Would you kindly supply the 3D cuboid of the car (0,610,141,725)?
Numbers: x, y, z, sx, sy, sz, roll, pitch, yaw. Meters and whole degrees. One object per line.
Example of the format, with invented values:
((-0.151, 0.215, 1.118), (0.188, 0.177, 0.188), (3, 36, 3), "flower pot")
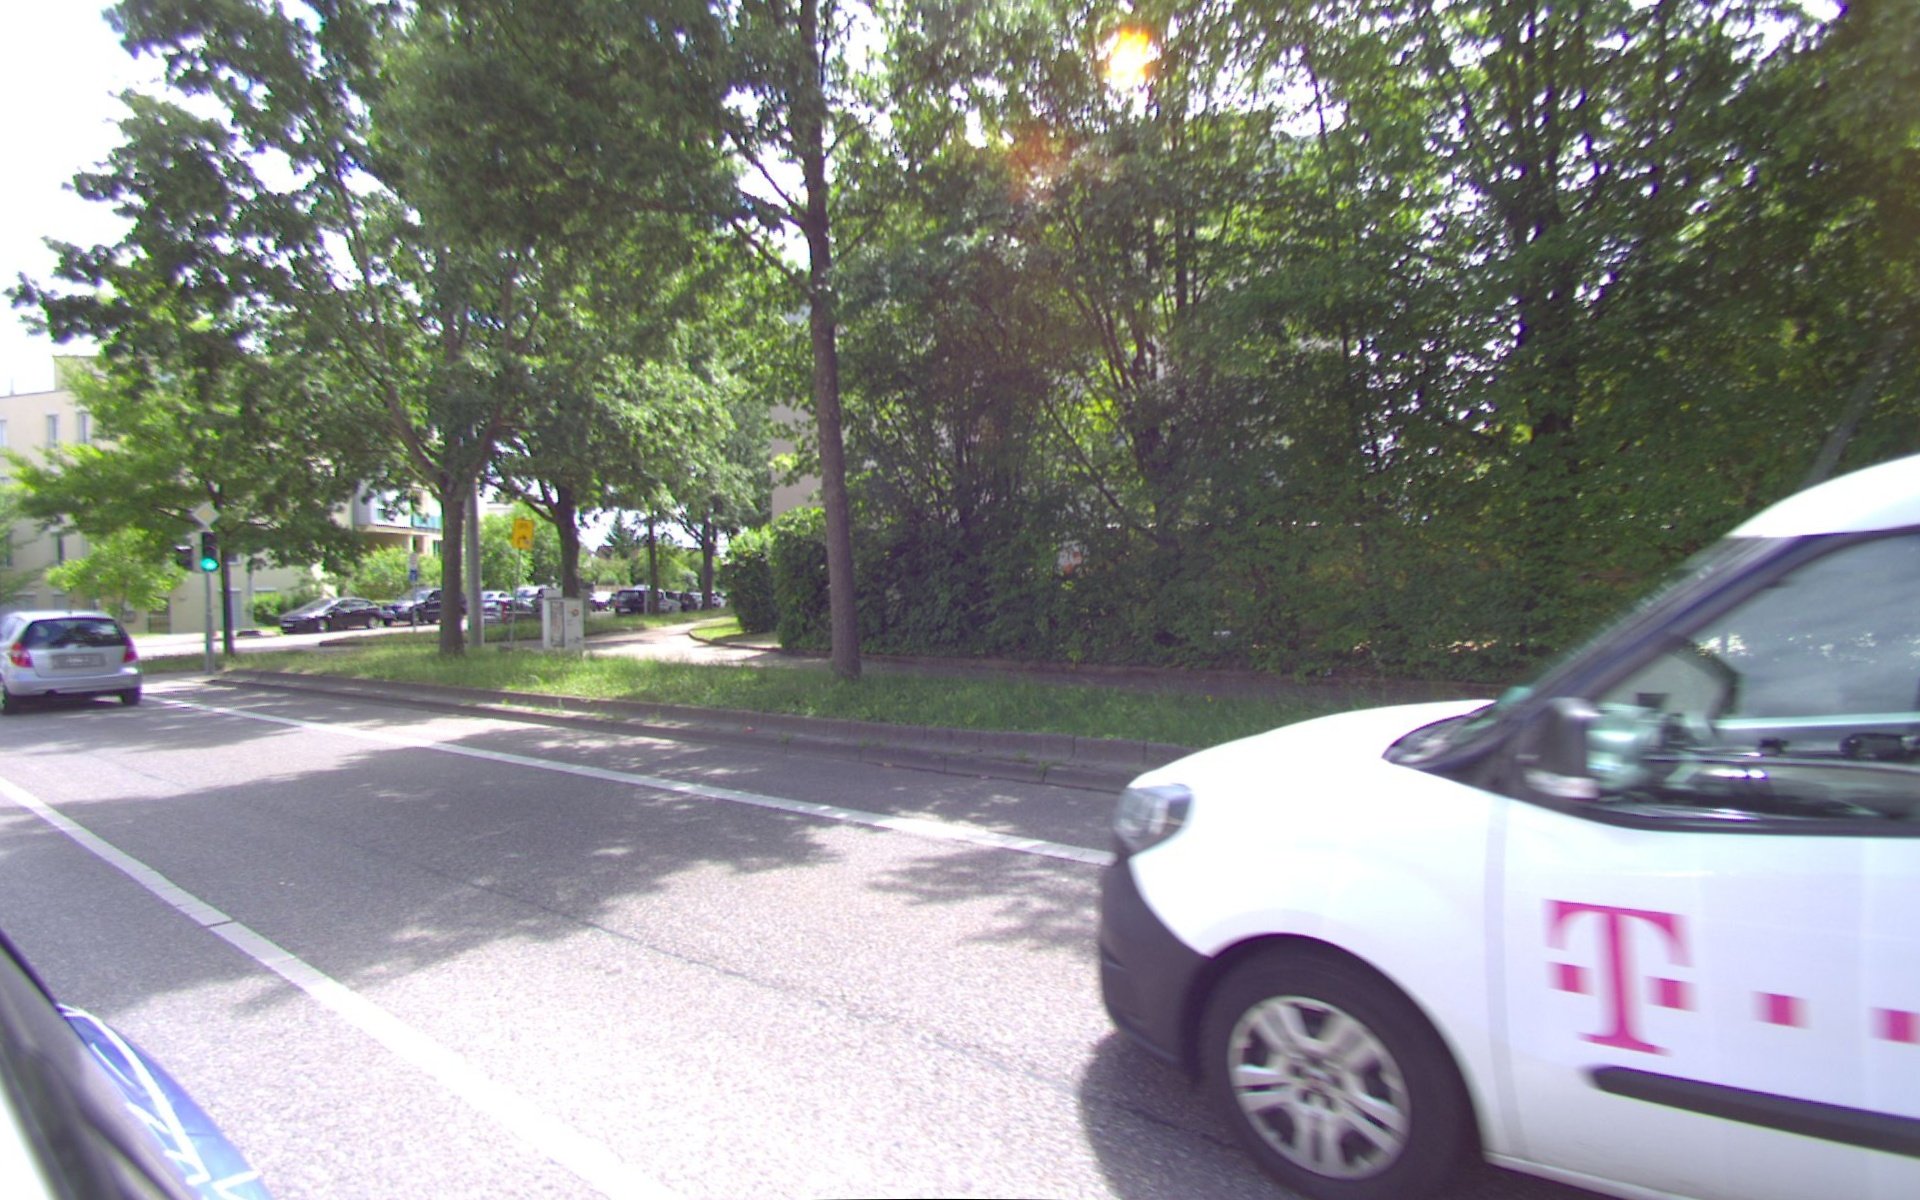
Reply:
((-15.353, 1.034, 16.911), (3.994, 1.630, 1.692), (-1, 1, 38), "car")

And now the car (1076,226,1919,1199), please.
((2.644, 0.339, 1.888), (4.590, 1.889, 1.829), (-1, -1, 40), "car")

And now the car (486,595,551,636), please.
((-20.987, 0.772, 48.277), (1.816, 1.858, 4.007), (-1, -1, -8), "car")

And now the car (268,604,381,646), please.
((-27.679, 1.053, 44.238), (1.720, 1.408, 4.137), (-1, 3, 13), "car")

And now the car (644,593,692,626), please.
((-17.968, 0.553, 62.438), (1.633, 1.747, 3.998), (-2, 3, 2), "car")

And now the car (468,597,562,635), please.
((-18.908, 0.661, 43.192), (1.679, 1.463, 3.985), (1, 1, 12), "car")

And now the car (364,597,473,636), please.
((-26.350, 0.754, 49.468), (2.081, 1.615, 4.773), (0, 3, 13), "car")

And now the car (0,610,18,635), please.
((-57.130, 1.315, 58.494), (1.767, 1.431, 4.003), (-2, -1, -4), "car")

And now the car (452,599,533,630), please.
((-25.352, 0.771, 55.028), (1.954, 1.342, 3.985), (-1, 3, 12), "car")

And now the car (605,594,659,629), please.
((-18.667, 0.603, 57.828), (2.093, 1.807, 4.425), (-2, 1, -7), "car")
